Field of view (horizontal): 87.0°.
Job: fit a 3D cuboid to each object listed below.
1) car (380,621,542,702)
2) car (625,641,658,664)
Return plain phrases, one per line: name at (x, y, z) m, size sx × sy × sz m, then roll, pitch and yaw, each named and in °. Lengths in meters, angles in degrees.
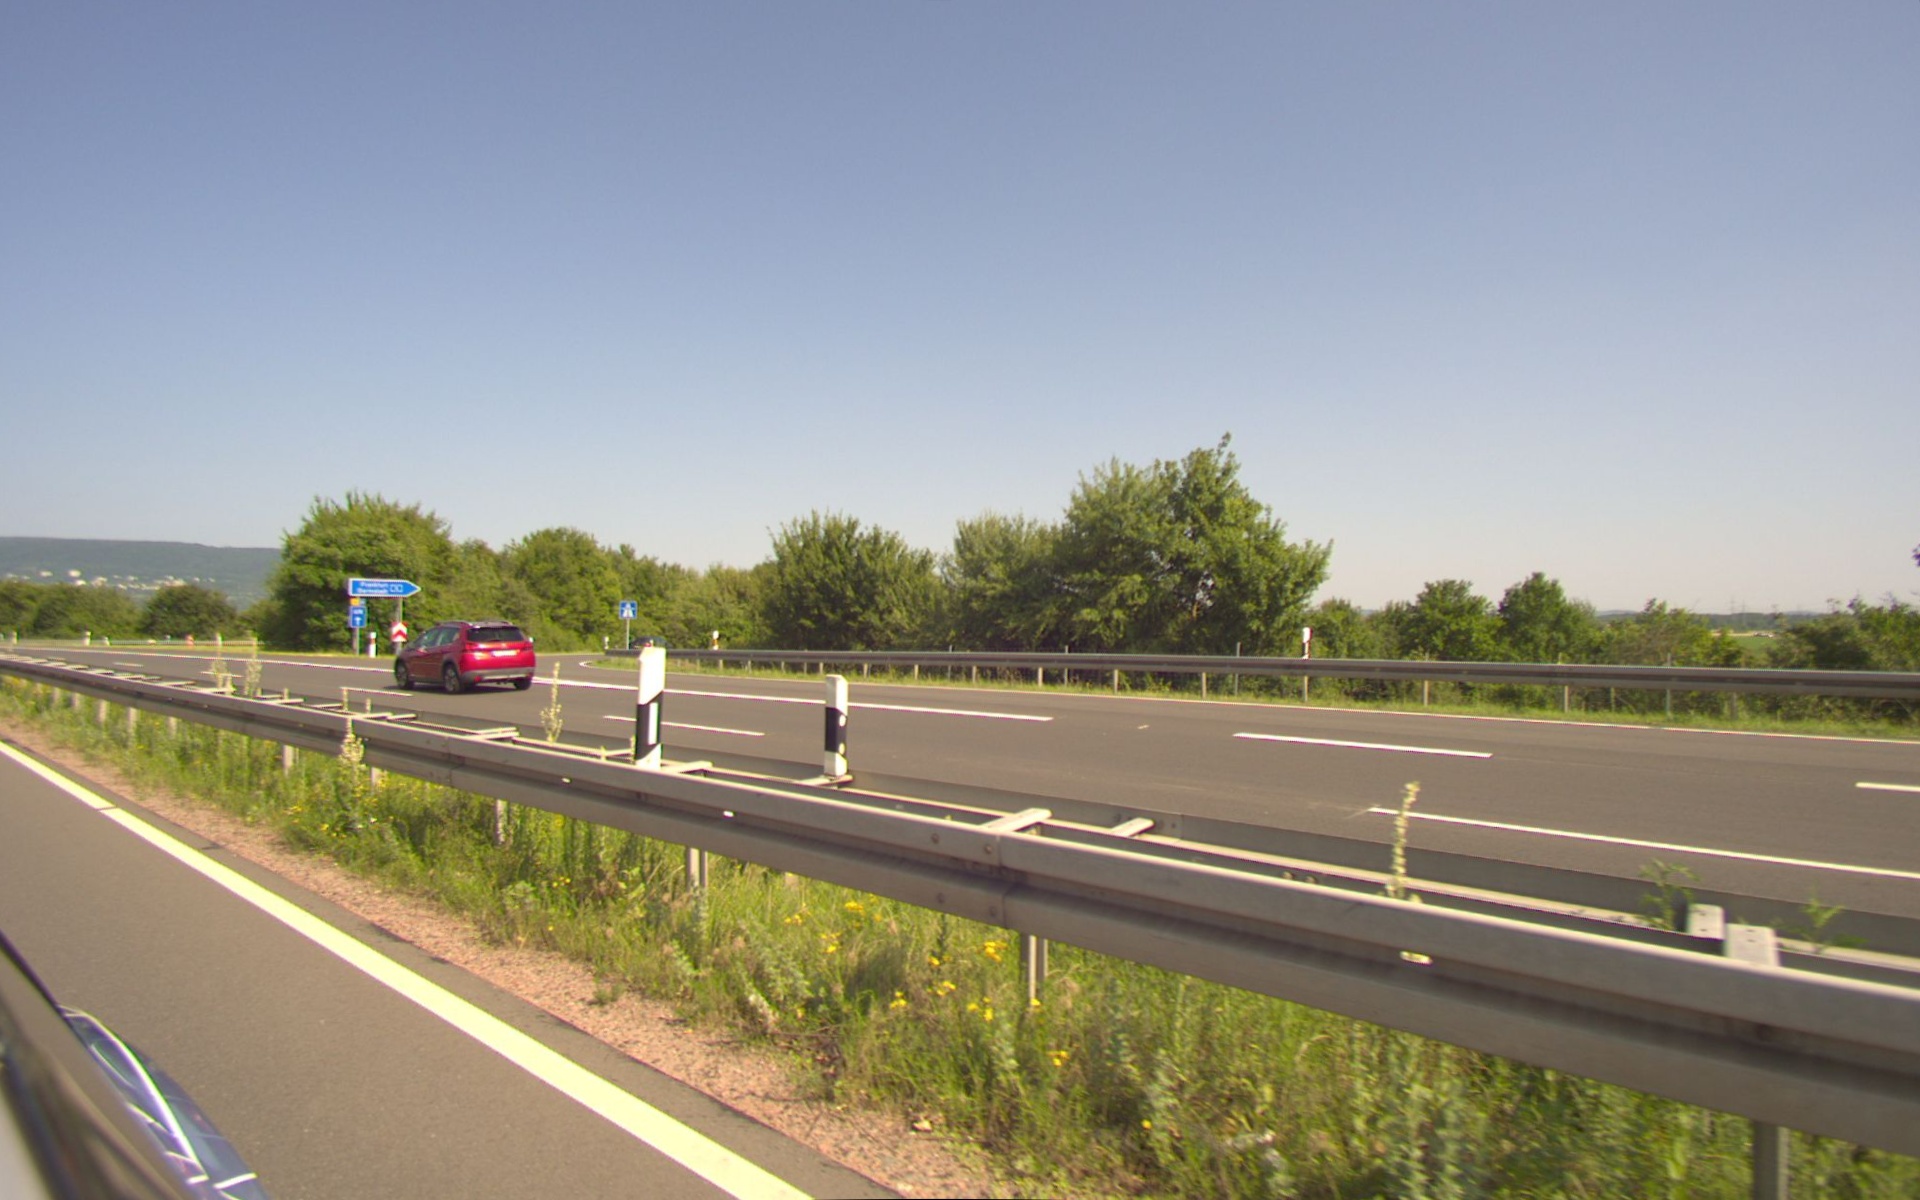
car at (-11.118, 1.284, 22.439) m, size 4.260 × 1.586 × 1.626 m, roll -1°, pitch 0°, yaw 40°
car at (-22.650, 3.757, 71.996) m, size 1.572 × 1.505 × 4.824 m, roll 3°, pitch -4°, yaw -10°
